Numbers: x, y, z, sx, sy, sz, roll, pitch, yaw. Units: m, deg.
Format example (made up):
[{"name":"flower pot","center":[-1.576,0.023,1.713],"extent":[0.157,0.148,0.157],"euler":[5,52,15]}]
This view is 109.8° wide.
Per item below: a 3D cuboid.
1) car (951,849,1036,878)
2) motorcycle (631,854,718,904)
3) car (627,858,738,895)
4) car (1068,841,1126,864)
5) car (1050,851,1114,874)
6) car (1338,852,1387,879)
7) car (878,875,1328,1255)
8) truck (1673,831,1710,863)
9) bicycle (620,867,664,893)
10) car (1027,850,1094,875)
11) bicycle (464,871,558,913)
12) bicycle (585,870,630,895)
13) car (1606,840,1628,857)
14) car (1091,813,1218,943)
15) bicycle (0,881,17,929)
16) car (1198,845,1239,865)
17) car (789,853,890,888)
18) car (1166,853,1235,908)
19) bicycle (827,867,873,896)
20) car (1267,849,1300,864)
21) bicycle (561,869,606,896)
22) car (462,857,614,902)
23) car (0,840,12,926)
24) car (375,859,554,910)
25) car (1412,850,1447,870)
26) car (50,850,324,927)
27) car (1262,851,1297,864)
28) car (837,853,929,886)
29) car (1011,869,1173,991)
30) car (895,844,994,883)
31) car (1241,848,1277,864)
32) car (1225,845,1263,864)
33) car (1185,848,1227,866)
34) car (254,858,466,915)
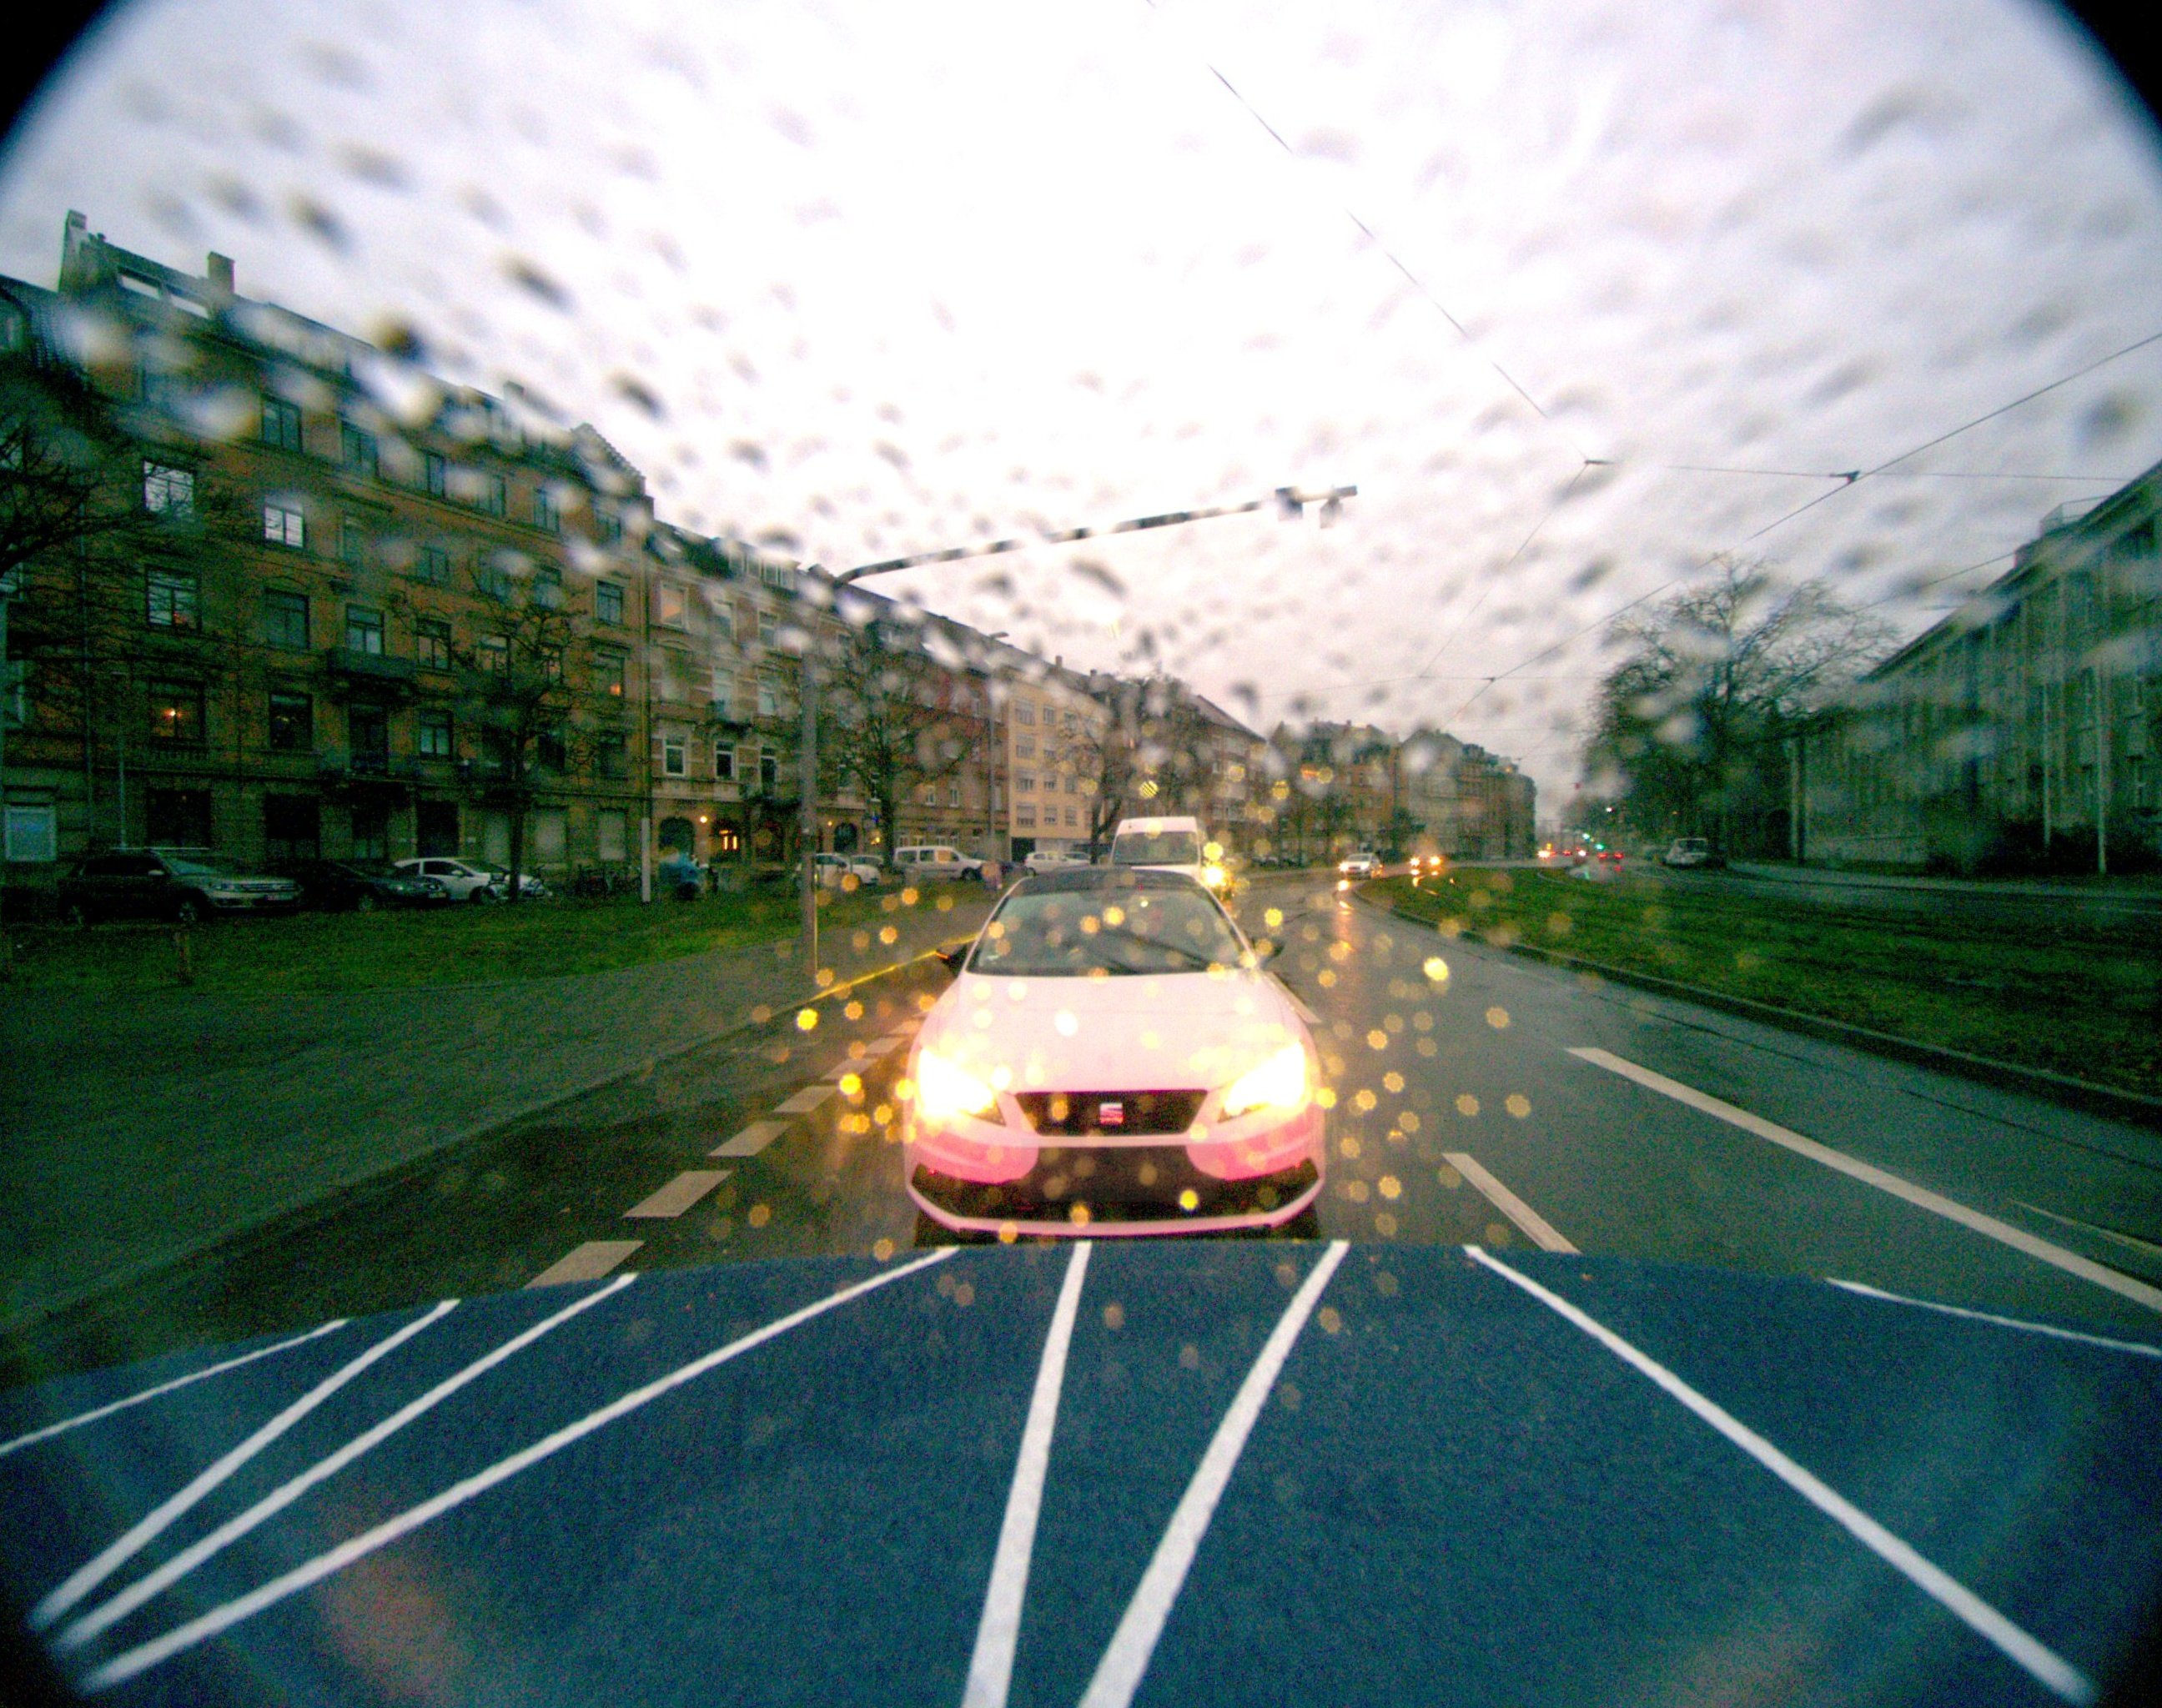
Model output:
[{"name":"car","center":[-4.414,0.485,38.718],"extent":[3.958,1.436,1.703],"euler":[-1,0,10]},{"name":"motorcycle","center":[-12.070,0.705,22.575],"extent":[2.352,1.338,0.886],"euler":[2,2,19]},{"name":"car","center":[-14.749,0.836,28.210],"extent":[3.297,1.298,1.522],"euler":[-1,0,5]},{"name":"car","center":[1.039,-0.092,48.392],"extent":[3.611,1.362,1.618],"euler":[-1,0,3]},{"name":"car","center":[0.075,0.509,45.896],"extent":[3.609,1.362,1.619],"euler":[-1,0,9]},{"name":"car","center":[16.005,0.631,43.127],"extent":[1.686,1.422,3.353],"euler":[-1,0,37]},{"name":"car","center":[0.148,0.932,5.223],"extent":[1.787,1.370,4.223],"euler":[-2,0,2]},{"name":"truck","center":[41.447,-0.460,51.619],"extent":[1.833,2.032,4.008],"euler":[0,0,37]},{"name":"bicycle","center":[-15.387,0.902,26.615],"extent":[1.791,0.813,0.395],"euler":[1,1,25]},{"name":"car","center":[-1.157,0.468,43.627],"extent":[3.609,1.362,1.619],"euler":[-1,0,9]},{"name":"bicycle","center":[-14.575,0.947,19.489],"extent":[1.911,1.013,0.535],"euler":[0,1,-36]},{"name":"bicycle","center":[-15.908,0.950,25.522],"extent":[1.790,0.773,0.447],"euler":[1,1,28]},{"name":"car","center":[53.904,-0.517,76.472],"extent":[1.686,1.630,3.654],"euler":[-1,0,34]},{"name":"car","center":[1.887,0.456,17.319],"extent":[2.239,2.448,5.674],"euler":[-1,0,12]},{"name":"bicycle","center":[-22.179,0.999,15.119],"extent":[1.792,0.926,0.446],"euler":[1,1,10]},{"name":"car","center":[11.263,0.066,62.110],"extent":[3.181,1.615,1.429],"euler":[-1,0,13]},{"name":"car","center":[-10.029,0.658,31.634],"extent":[3.684,1.391,1.522],"euler":[-1,0,5]},{"name":"car","center":[4.169,0.838,26.053],"extent":[1.874,1.679,4.175],"euler":[-1,0,15]},{"name":"bicycle","center":[-7.917,0.924,25.994],"extent":[1.790,0.926,0.447],"euler":[2,1,33]},{"name":"car","center":[20.399,0.220,76.485],"extent":[3.181,1.474,1.383],"euler":[-1,0,14]},{"name":"bicycle","center":[-16.408,0.923,25.038],"extent":[1.790,0.790,0.447],"euler":[1,1,28]},{"name":"car","center":[-16.779,0.774,23.577],"extent":[3.684,1.298,1.521],"euler":[-1,0,4]},{"name":"car","center":[-29.177,0.759,17.789],"extent":[1.994,2.176,4.670],"euler":[-1,0,33]},{"name":"car","center":[-17.044,0.826,21.118],"extent":[3.684,1.298,1.669],"euler":[-1,0,4]},{"name":"car","center":[27.182,0.441,59.205],"extent":[1.836,1.524,3.824],"euler":[-1,0,36]},{"name":"car","center":[-19.542,0.723,16.727],"extent":[4.152,1.560,1.742],"euler":[-1,0,4]},{"name":"car","center":[18.875,0.328,72.157],"extent":[3.181,1.276,1.383],"euler":[-1,0,14]},{"name":"car","center":[-8.864,0.683,34.123],"extent":[3.684,1.428,1.522],"euler":[-1,0,5]},{"name":"car","center":[0.349,0.983,11.274],"extent":[1.722,1.380,3.825],"euler":[-1,0,11]},{"name":"car","center":[-6.525,0.445,36.470],"extent":[4.341,1.757,1.782],"euler":[-1,0,4]},{"name":"car","center":[16.221,0.220,69.140],"extent":[3.181,1.405,1.383],"euler":[-1,0,14]},{"name":"car","center":[14.319,0.087,66.737],"extent":[3.181,1.615,1.447],"euler":[-1,0,13]},{"name":"car","center":[9.837,0.233,59.797],"extent":[3.181,1.420,1.429],"euler":[-1,0,13]},{"name":"car","center":[-17.813,0.778,18.883],"extent":[3.684,1.298,1.742],"euler":[-1,0,4]}]
